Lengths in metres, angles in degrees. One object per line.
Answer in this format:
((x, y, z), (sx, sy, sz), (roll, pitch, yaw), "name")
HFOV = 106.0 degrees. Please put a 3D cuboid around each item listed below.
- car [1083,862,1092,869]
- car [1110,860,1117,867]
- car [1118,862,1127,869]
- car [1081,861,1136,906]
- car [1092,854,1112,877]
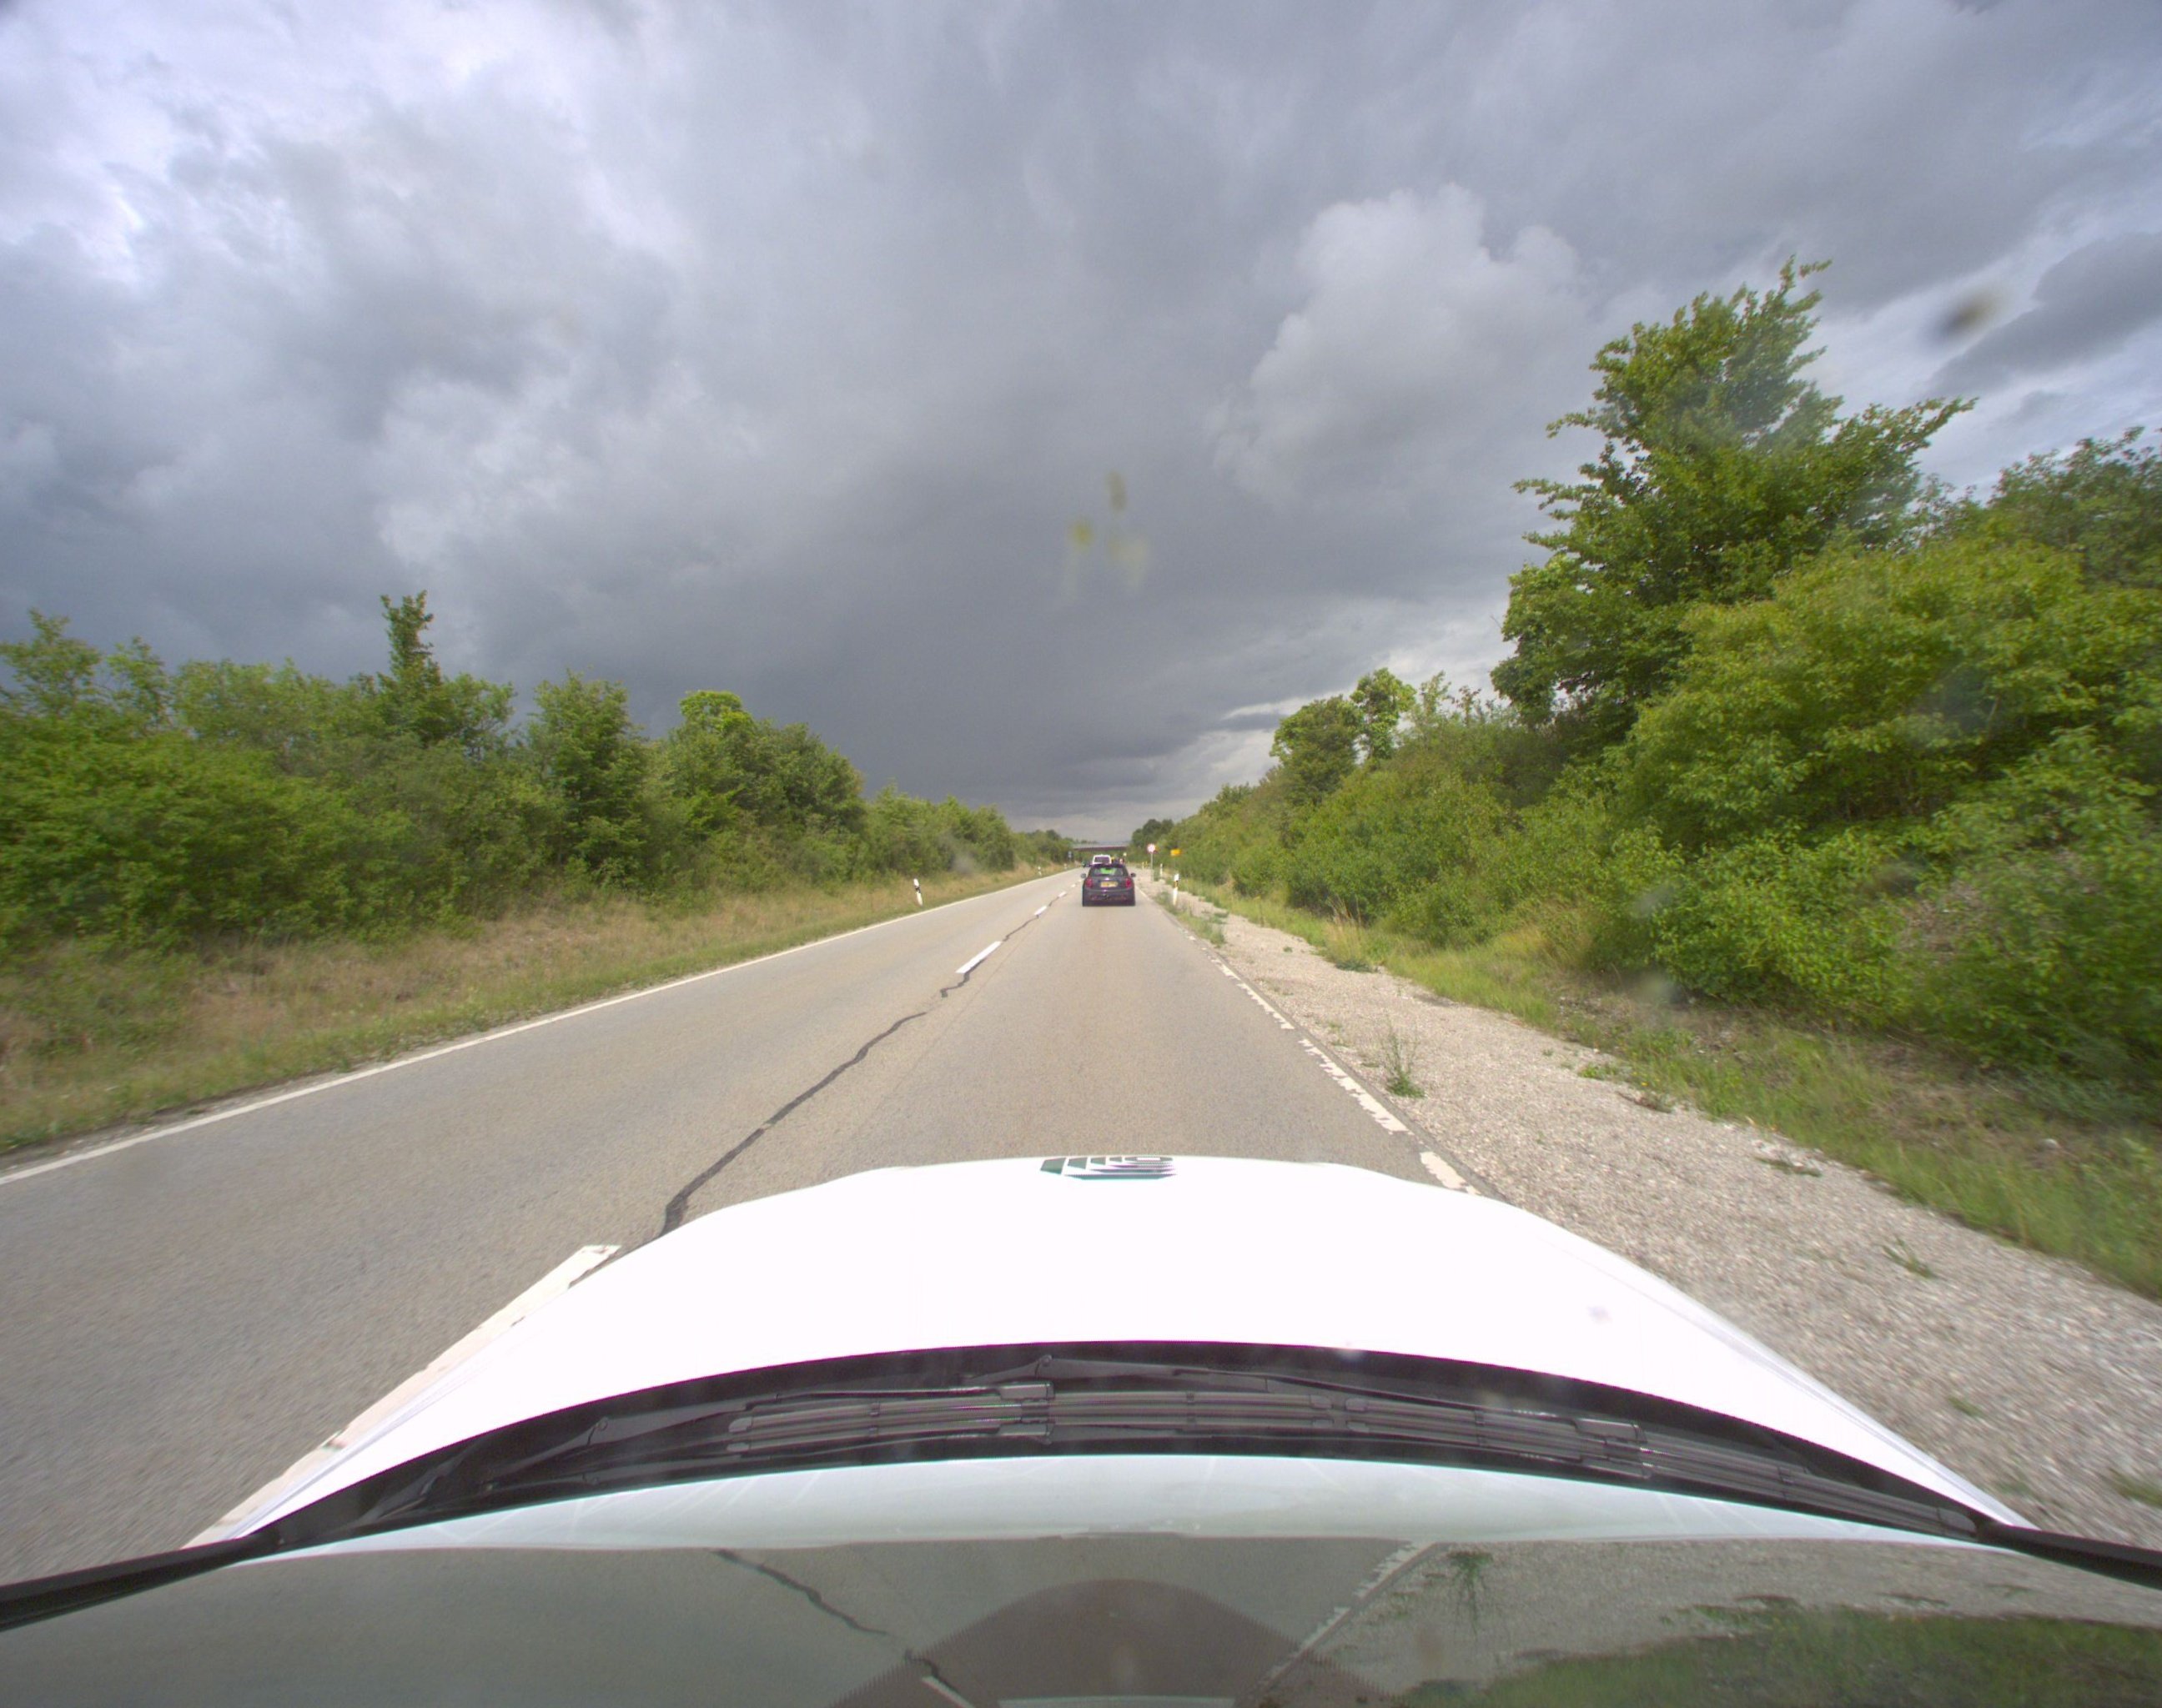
((1.410, 2.216, 163.932), (1.695, 1.330, 4.001), (-2, -1, 1), "car")
((9.228, 2.654, 229.688), (1.775, 1.706, 3.999), (-1, -1, 0), "car")
((10.146, 2.819, 199.982), (1.987, 1.552, 3.999), (0, -1, 0), "car")
((0.932, 0.955, 27.948), (1.750, 1.427, 4.001), (-1, -1, 2), "car")
((1.949, 1.033, 74.642), (1.813, 2.055, 4.001), (-1, -1, 1), "car")
